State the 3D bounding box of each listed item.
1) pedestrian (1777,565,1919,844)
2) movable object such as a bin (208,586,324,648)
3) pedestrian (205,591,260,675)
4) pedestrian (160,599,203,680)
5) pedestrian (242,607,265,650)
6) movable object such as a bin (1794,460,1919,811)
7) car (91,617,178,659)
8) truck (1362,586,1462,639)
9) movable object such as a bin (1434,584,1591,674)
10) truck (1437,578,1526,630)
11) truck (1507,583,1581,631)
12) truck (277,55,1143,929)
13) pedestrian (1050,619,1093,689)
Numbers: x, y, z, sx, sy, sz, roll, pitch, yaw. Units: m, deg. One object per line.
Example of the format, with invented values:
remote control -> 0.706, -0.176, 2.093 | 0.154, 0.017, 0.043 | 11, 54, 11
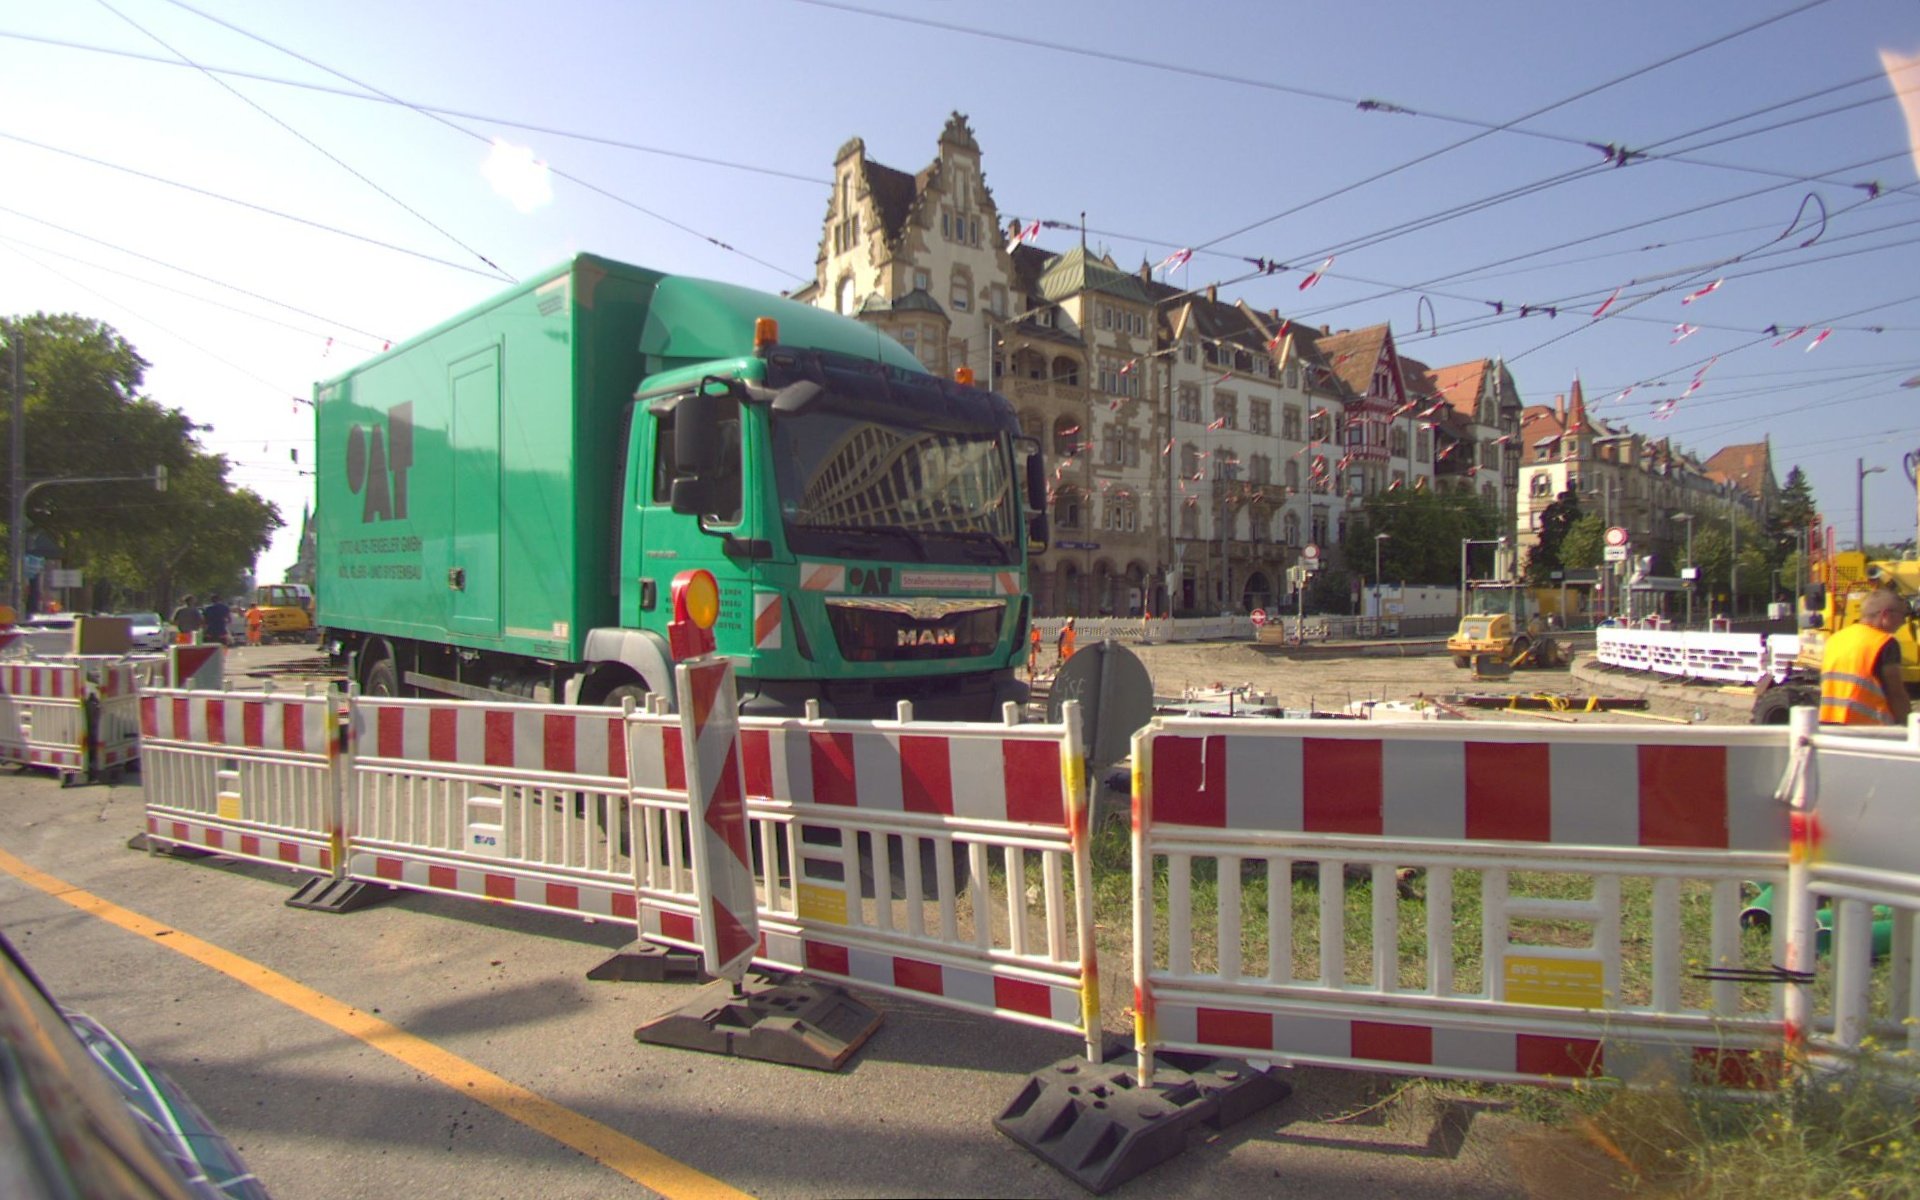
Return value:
pedestrian -> 5.385, 0.566, 5.856 | 0.730, 1.490, 0.705 | 0, -1, -14
movable object such as a bin -> -29.885, 0.744, 43.611 | 2.911, 2.427, 3.137 | 2, -2, 32
pedestrian -> -16.493, 0.735, 22.930 | 0.907, 1.855, 0.803 | 1, -1, -42
pedestrian -> -17.429, 0.881, 22.667 | 0.709, 1.788, 0.466 | 1, -1, -42
pedestrian -> -29.198, 1.186, 41.825 | 0.690, 1.752, 0.915 | 1, -1, -30
movable object such as a bin -> 10.932, 0.342, 10.345 | 3.564, 3.247, 4.072 | -1, -2, 38
car -> -30.063, 1.349, 36.951 | 1.966, 1.406, 4.011 | 1, -1, -32
truck -> 25.465, 0.703, 56.941 | 5.944, 2.836, 2.697 | 1, -1, -39
movable object such as a bin -> 18.581, 0.877, 33.976 | 5.429, 2.810, 2.497 | 0, 1, -36
truck -> 32.369, 0.305, 62.765 | 6.255, 3.067, 2.636 | 1, -1, -39
truck -> 39.335, 0.500, 68.097 | 6.255, 3.067, 2.243 | 1, -1, -39
truck -> -3.017, -0.406, 8.571 | 9.019, 3.817, 2.776 | -1, -2, 45
pedestrian -> 2.771, 1.322, 25.153 | 0.729, 1.715, 0.760 | 1, -1, -37
